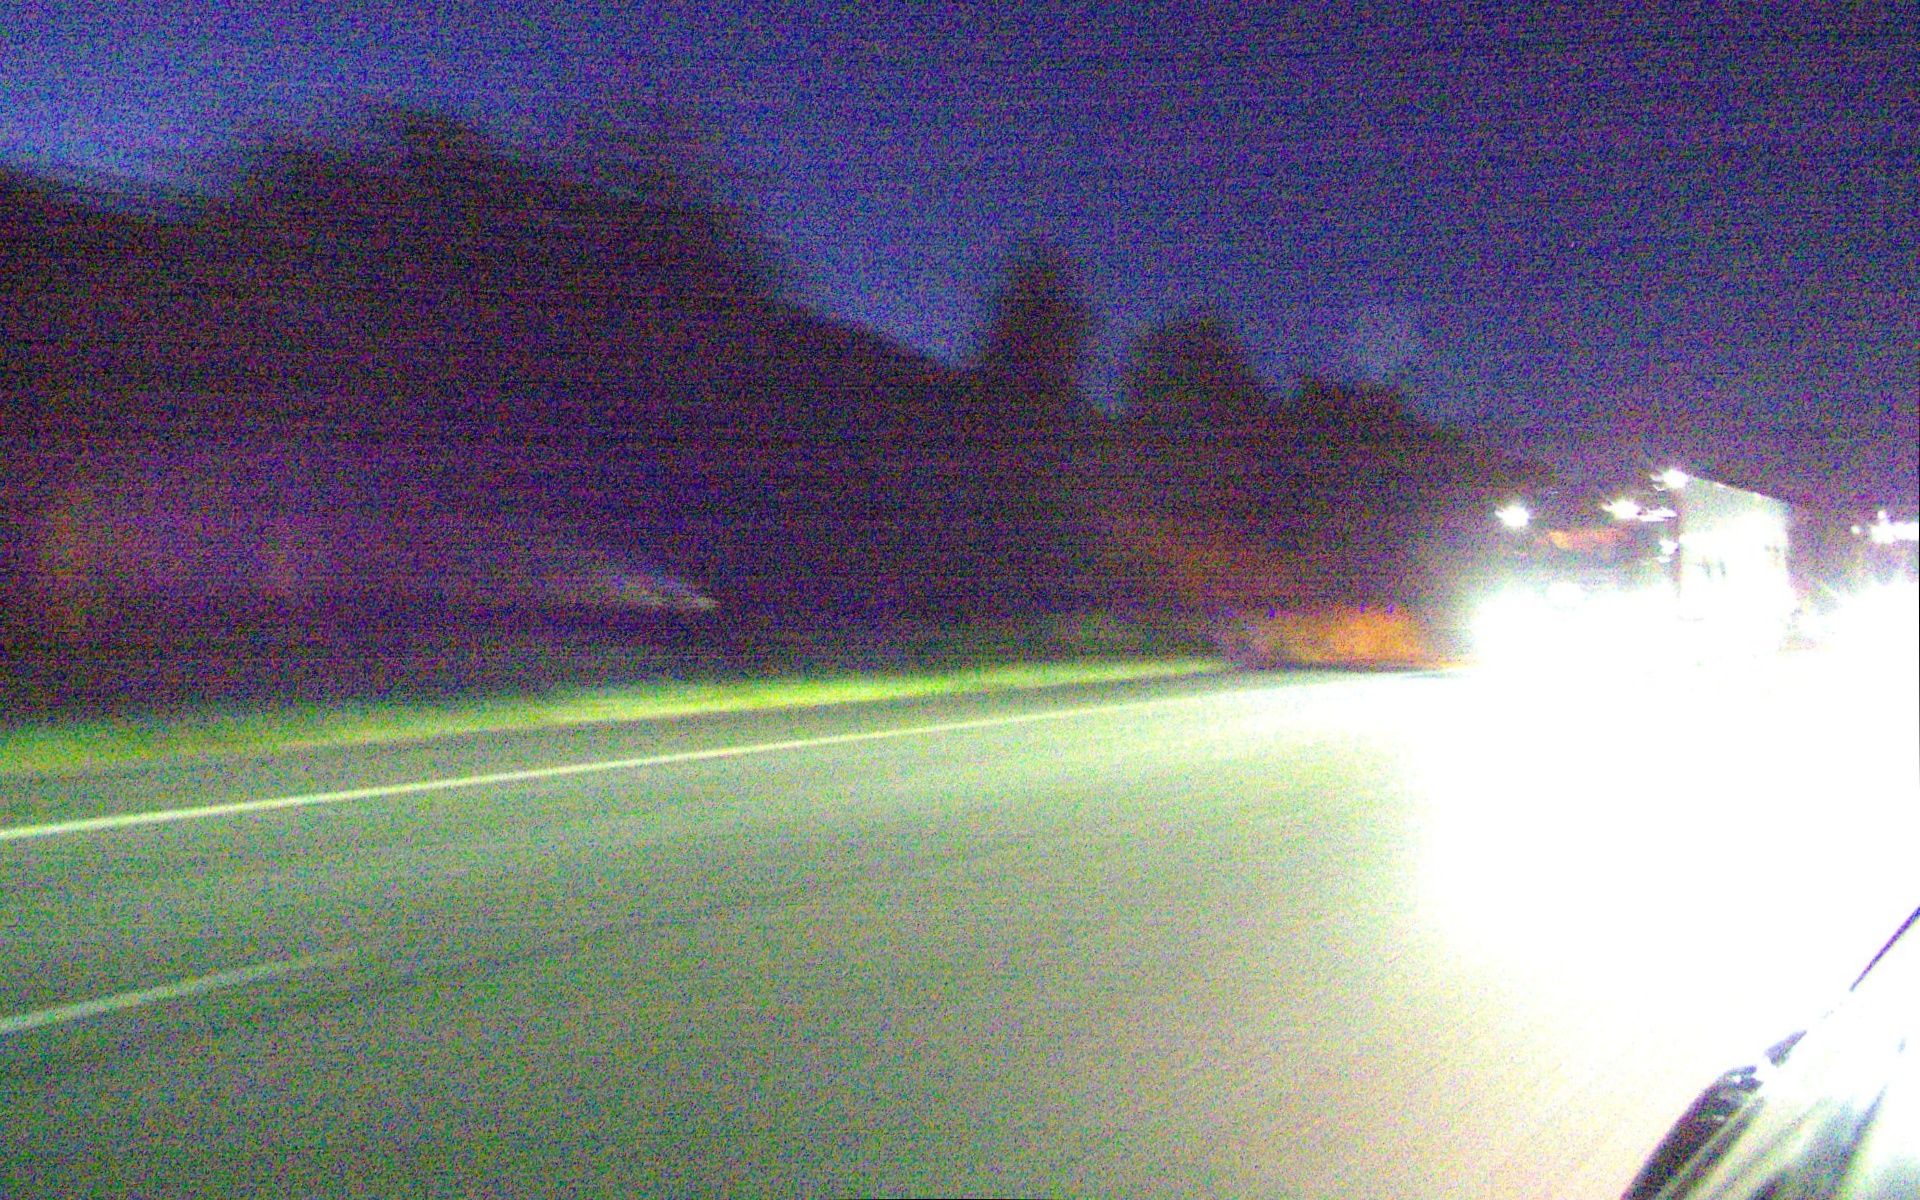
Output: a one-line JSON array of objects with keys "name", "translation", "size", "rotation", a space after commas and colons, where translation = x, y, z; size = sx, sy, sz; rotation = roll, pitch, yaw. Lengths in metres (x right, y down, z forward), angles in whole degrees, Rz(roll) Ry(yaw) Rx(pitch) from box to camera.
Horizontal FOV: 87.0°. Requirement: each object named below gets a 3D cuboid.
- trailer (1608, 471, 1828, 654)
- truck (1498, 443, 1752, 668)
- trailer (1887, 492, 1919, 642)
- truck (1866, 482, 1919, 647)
[{"name": "trailer", "translation": [20.506, -0.865, 27.072], "size": [9.832, 4.124, 2.595], "rotation": [0, -1, -41]}, {"name": "truck", "translation": [14.621, -0.823, 21.978], "size": [7.538, 4.124, 2.595], "rotation": [0, -1, -41]}, {"name": "trailer", "translation": [32.796, -0.975, 32.590], "size": [13.273, 4.260, 2.747], "rotation": [0, -1, -41]}, {"name": "truck", "translation": [27.519, -0.945, 28.057], "size": [6.604, 4.260, 2.666], "rotation": [0, -1, -41]}]
